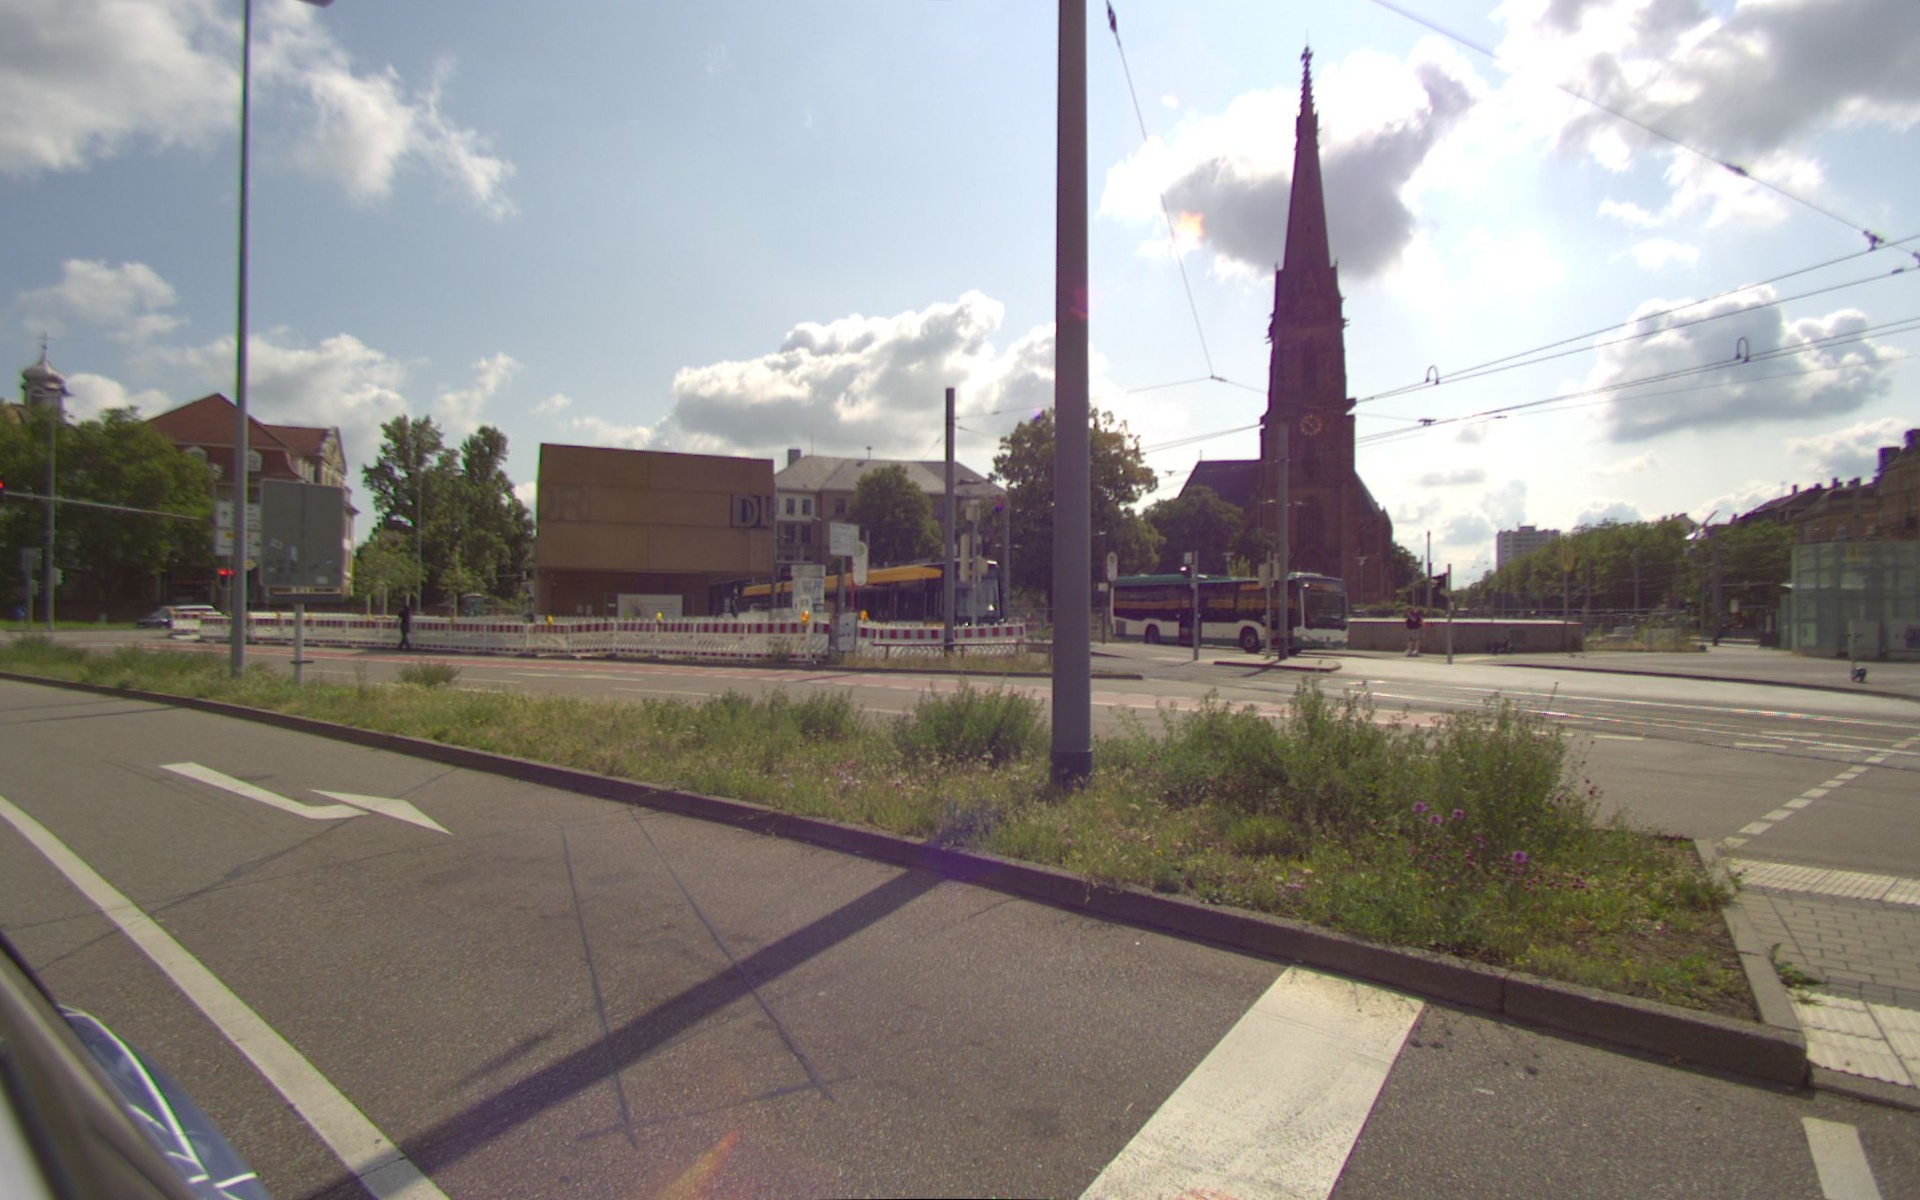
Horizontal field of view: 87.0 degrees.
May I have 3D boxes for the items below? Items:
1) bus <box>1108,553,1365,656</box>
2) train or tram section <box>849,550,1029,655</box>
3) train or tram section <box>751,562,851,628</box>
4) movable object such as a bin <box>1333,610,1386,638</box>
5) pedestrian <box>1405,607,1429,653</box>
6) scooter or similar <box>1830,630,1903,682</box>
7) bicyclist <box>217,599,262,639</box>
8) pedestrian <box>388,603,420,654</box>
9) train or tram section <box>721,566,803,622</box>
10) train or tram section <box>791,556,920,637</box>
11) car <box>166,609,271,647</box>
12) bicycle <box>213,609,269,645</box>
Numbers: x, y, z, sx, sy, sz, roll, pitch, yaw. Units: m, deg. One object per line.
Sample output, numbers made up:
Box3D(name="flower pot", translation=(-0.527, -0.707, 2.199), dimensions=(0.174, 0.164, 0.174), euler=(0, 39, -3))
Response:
Box3D(name="bus", translation=(10.871, 0.292, 42.095), dimensions=(2.865, 3.648, 12.418), euler=(1, -1, -26))
Box3D(name="train or tram section", translation=(-1.196, 0.008, 39.390), dimensions=(3.266, 3.507, 10.644), euler=(-1, 1, -23))
Box3D(name="train or tram section", translation=(-9.481, -0.355, 58.980), dimensions=(3.266, 3.507, 10.644), euler=(-1, 1, -23))
Box3D(name="movable object such as a bin", translation=(42.856, 2.603, 108.618), dimensions=(5.109, 2.933, 1.989), euler=(0, -2, 17))
Box3D(name="pedestrian", translation=(18.282, 1.205, 40.493), dimensions=(0.708, 1.808, 0.564), euler=(1, -1, -24))
Box3D(name="scooter or similar", translation=(21.389, 1.295, 23.896), dimensions=(0.805, 1.175, 1.163), euler=(0, -1, 14))
Box3D(name="bicyclist", translation=(-28.825, 0.752, 40.504), dimensions=(1.768, 1.575, 0.770), euler=(0, -1, 29))
Box3D(name="pedestrian", translation=(-19.700, 1.018, 35.840), dimensions=(1.000, 1.777, 0.645), euler=(-1, -1, 38))
Box3D(name="train or tram section", translation=(-13.626, -0.476, 68.771), dimensions=(3.266, 3.507, 10.644), euler=(-1, 1, -23))
Box3D(name="train or tram section", translation=(-5.348, -0.235, 49.221), dimensions=(3.266, 3.507, 10.644), euler=(-1, 1, -23))
Box3D(name="car", translation=(-36.306, 1.350, 49.680), dimensions=(3.932, 1.796, 2.006), euler=(1, -1, -31))
Box3D(name="bicycle", translation=(-28.797, 1.080, 40.536), dimensions=(2.284, 1.421, 0.963), euler=(0, -1, 30))
